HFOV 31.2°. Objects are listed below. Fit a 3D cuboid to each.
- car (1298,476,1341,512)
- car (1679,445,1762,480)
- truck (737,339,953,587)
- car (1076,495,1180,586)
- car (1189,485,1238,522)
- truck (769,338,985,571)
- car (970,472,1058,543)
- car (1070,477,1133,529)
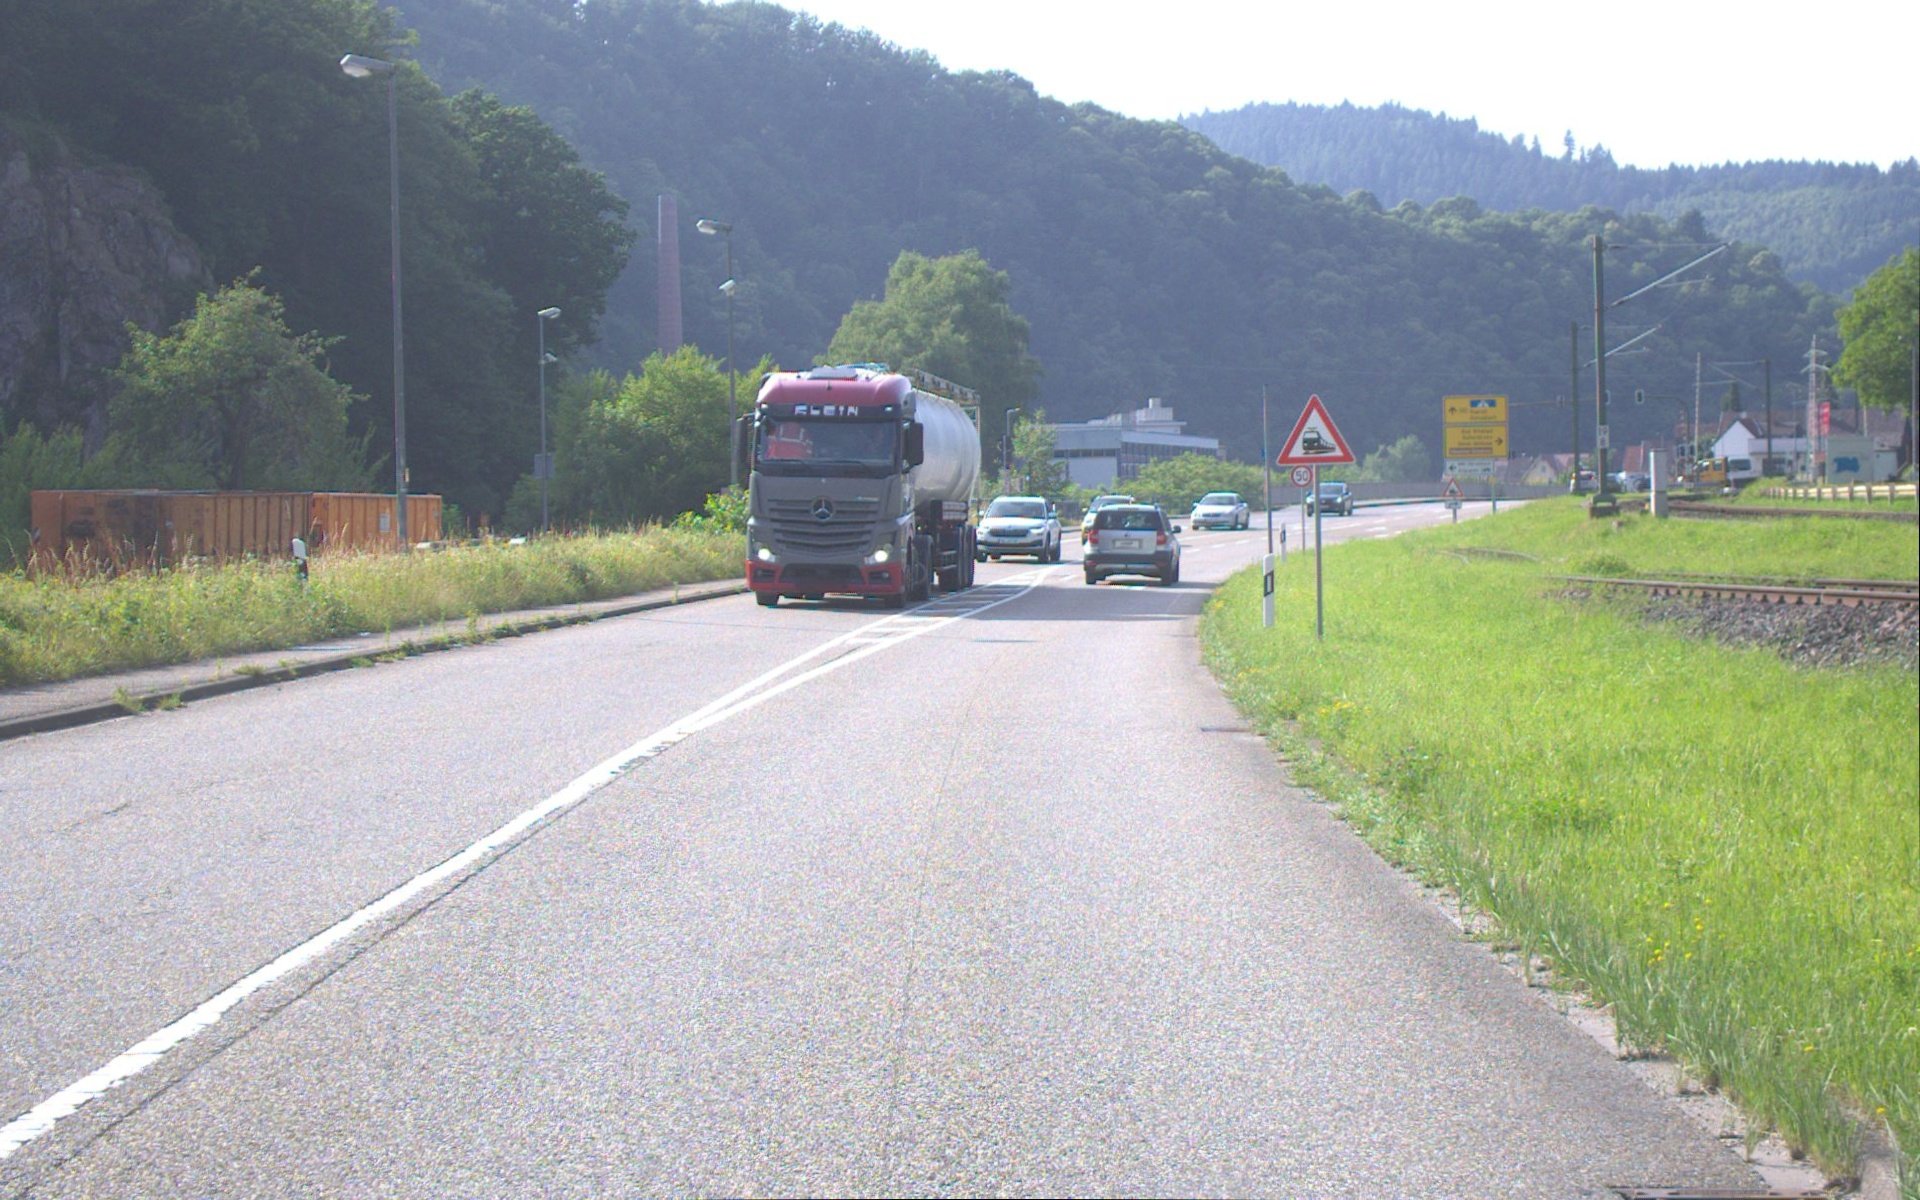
[{"bbox_3d":[16.851,-4.971,160.984,1.848,1.579,4.315,1,3,8],"label":"car"},{"bbox_3d":[50.640,-9.142,228.876,5.282,2.006,1.999,-3,2,14],"label":"car"},{"bbox_3d":[-1.803,-2.263,57.402,2.750,3.822,8.197,0,2,4],"label":"truck"},{"bbox_3d":[3.433,-1.252,70.599,1.994,1.717,3.990,-3,2,2],"label":"car"},{"bbox_3d":[9.924,-3.784,134.255,1.778,1.343,4.510,2,2,6],"label":"car"},{"bbox_3d":[-1.327,-2.657,64.105,2.750,3.822,14.561,0,2,4],"label":"truck"},{"bbox_3d":[1.408,-2.391,88.488,1.994,1.752,4.469,1,2,4],"label":"car"},{"bbox_3d":[4.544,-3.121,109.957,1.724,1.619,3.795,1,2,7],"label":"car"}]
